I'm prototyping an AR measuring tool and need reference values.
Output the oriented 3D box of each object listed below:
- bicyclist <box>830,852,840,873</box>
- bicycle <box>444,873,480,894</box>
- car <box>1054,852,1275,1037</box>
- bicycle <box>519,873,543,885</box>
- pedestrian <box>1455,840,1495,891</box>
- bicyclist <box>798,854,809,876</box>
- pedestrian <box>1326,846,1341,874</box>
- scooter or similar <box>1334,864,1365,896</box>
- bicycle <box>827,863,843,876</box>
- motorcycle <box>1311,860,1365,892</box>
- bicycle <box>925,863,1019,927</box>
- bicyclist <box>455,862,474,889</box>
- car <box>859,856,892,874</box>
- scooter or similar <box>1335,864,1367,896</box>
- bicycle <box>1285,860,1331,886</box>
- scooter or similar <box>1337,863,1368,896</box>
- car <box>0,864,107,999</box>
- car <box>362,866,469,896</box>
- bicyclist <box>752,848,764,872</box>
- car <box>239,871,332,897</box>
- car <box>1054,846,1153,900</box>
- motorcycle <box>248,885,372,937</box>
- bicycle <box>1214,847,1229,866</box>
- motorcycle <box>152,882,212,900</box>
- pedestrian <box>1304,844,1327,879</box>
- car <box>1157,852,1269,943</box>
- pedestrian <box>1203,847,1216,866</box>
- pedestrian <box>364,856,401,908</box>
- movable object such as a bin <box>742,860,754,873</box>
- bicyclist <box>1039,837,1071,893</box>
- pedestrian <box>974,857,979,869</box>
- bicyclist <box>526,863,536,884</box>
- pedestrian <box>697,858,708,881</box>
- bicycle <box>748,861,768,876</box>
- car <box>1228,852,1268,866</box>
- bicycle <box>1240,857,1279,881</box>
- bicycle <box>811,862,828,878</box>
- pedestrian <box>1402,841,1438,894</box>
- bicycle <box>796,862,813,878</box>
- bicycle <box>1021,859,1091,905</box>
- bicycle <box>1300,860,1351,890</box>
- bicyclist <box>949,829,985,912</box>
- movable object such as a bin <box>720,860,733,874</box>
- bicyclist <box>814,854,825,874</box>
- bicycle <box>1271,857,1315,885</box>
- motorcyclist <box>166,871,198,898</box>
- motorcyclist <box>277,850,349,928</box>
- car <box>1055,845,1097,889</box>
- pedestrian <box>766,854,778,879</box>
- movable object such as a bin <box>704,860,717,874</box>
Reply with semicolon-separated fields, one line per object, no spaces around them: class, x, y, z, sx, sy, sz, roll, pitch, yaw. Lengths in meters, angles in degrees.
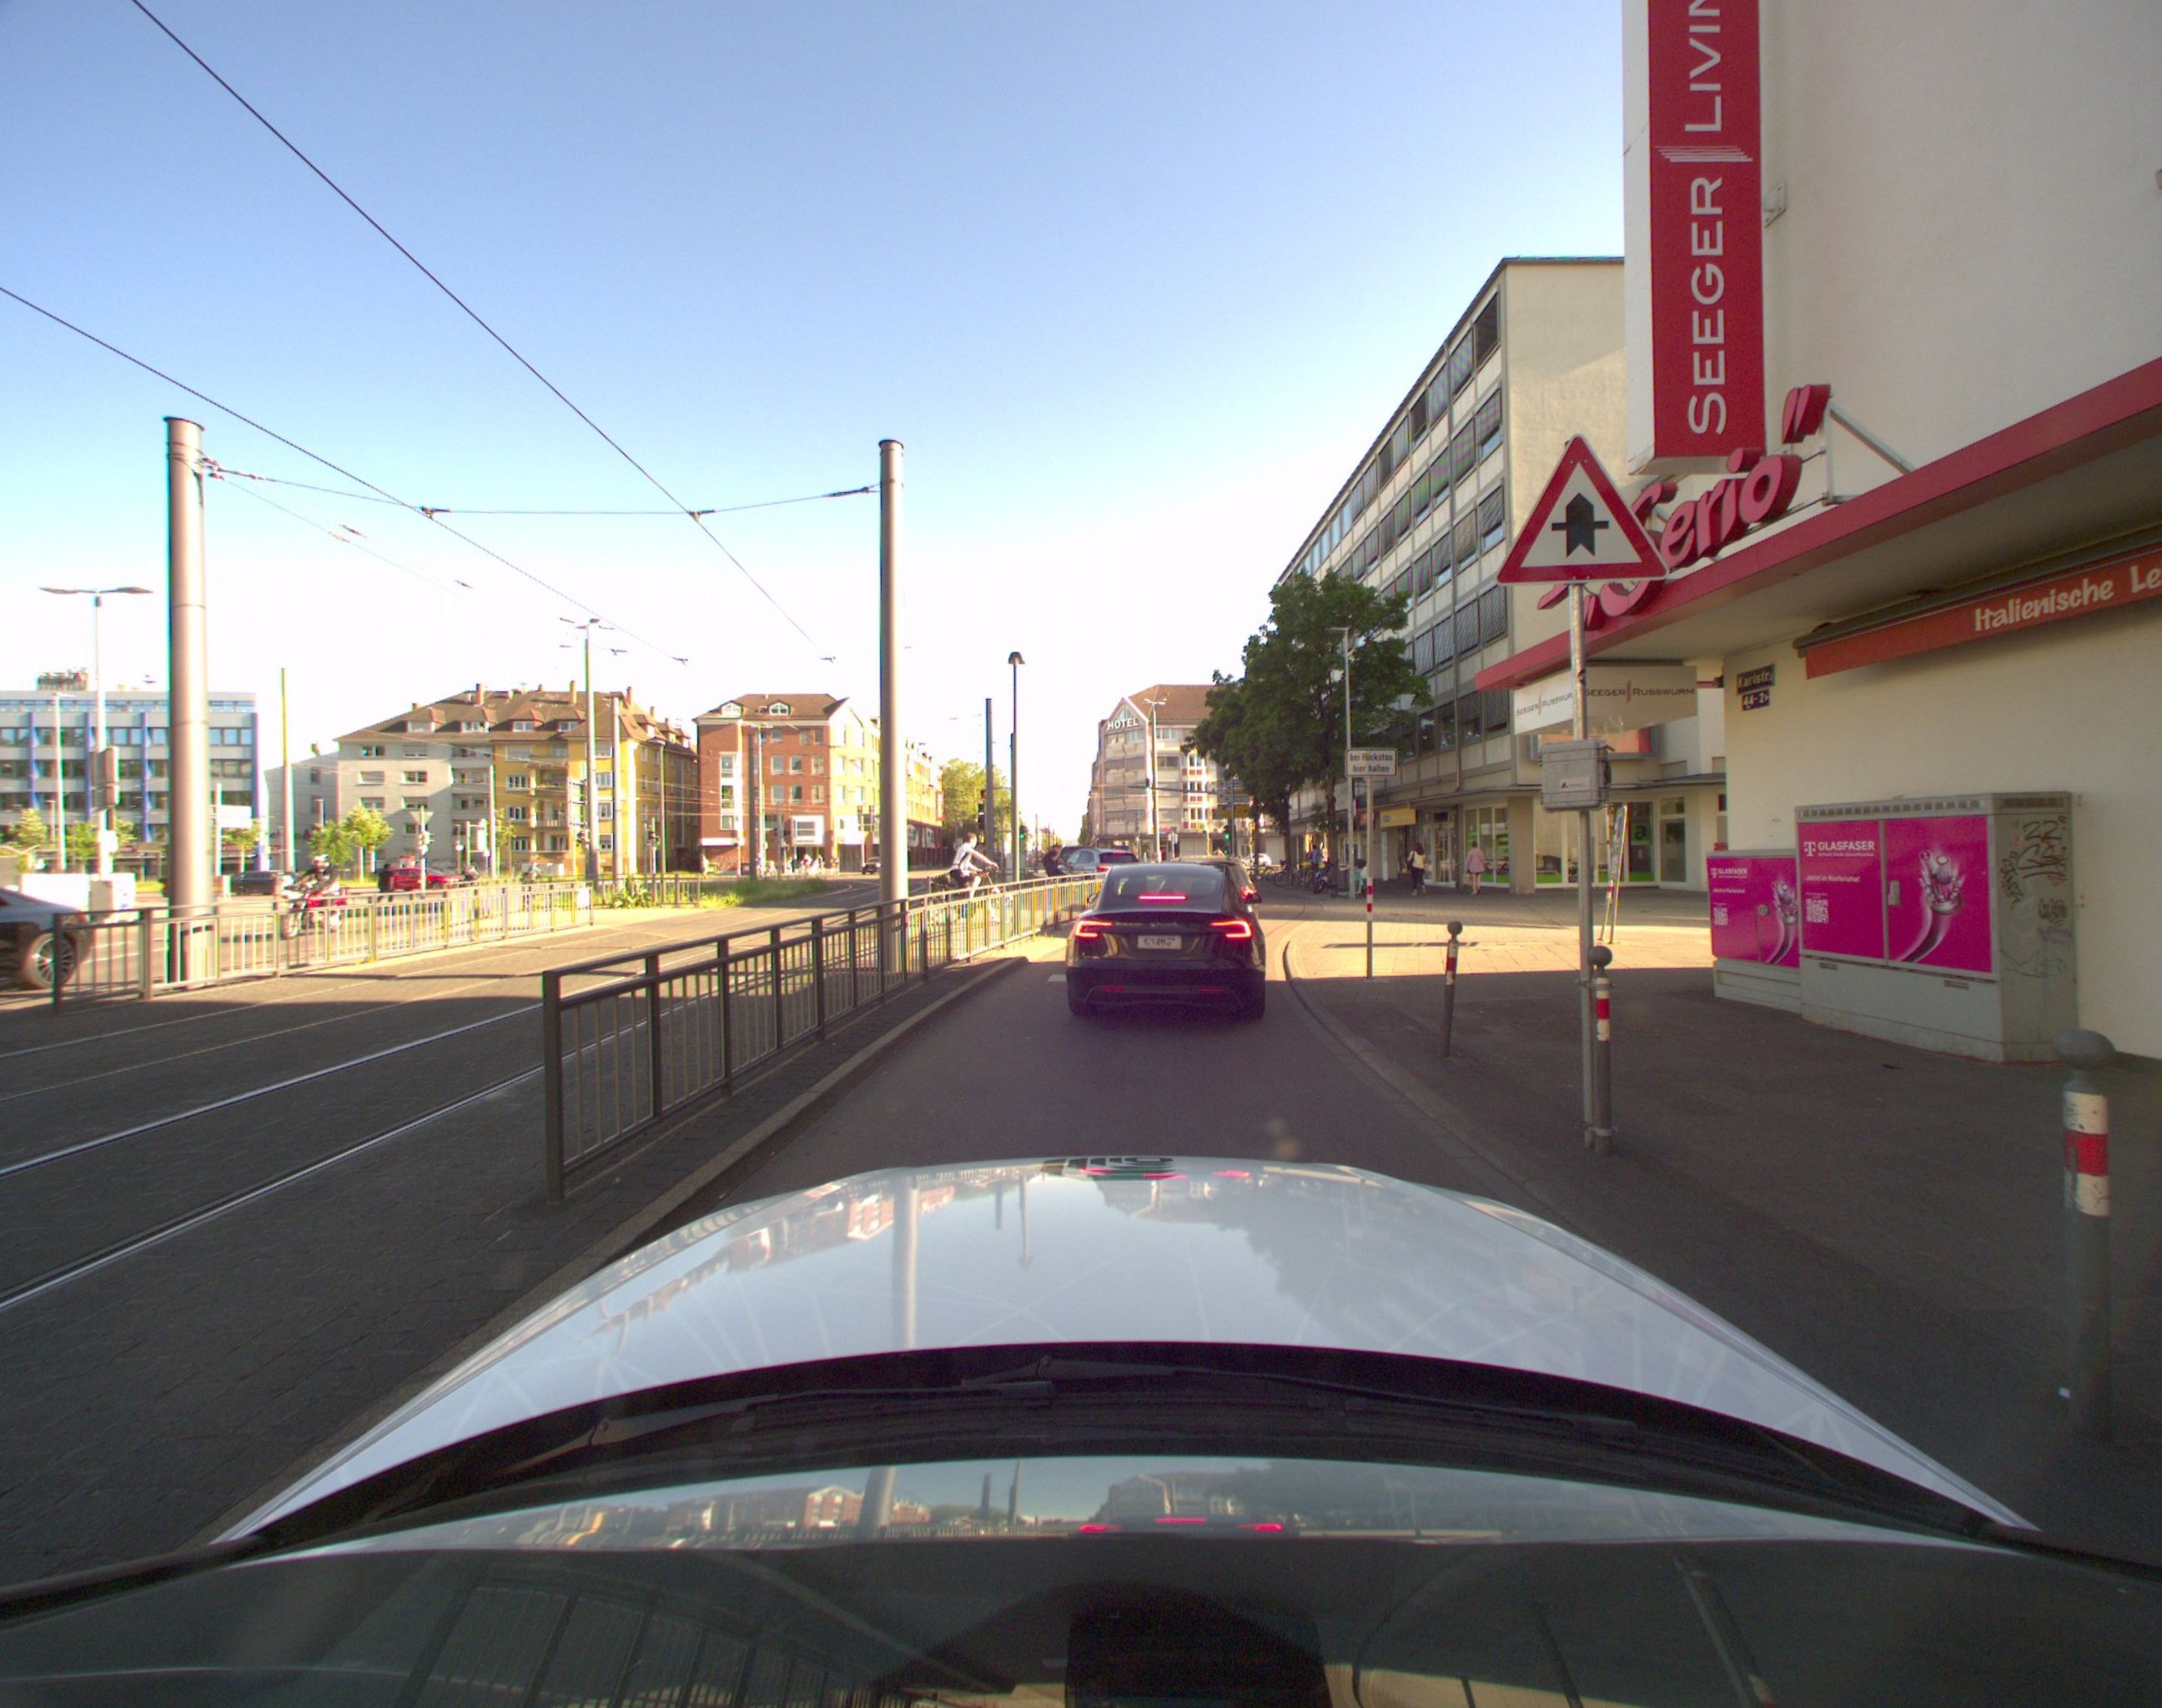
bicyclist;-19.403;0.684;64.247;0.522;1.673;0.771;0;-1;3
bicycle;-34.919;1.639;45.970;1.497;1.133;0.609;-1;-1;-13
car;0.906;0.733;8.604;1.781;1.450;3.947;0;1;7
bicycle;-35.149;1.614;52.048;1.174;0.764;0.318;0;-1;-15
pedestrian;12.514;0.364;25.877;0.840;1.602;0.880;0;-1;1
bicyclist;-21.028;0.821;61.797;0.518;1.673;0.771;0;-1;3
pedestrian;12.770;0.309;41.226;0.640;1.422;0.623;-1;-1;12
scooter or similar;8.970;0.864;27.214;0.959;1.027;0.160;-1;0;4
bicycle;-19.398;1.243;64.264;0.527;1.013;1.899;0;-1;4
motorcycle;9.198;0.782;29.134;1.781;1.130;0.504;0;-1;-1
bicycle;-2.160;0.797;16.224;1.820;1.212;0.580;0;-1;-10
bicyclist;-34.814;1.188;45.996;0.615;1.493;0.607;0;-1;-12
car;-17.962;0.958;71.315;1.678;1.560;4.124;0;-1;2
scooter or similar;8.955;0.853;27.014;0.952;1.039;0.160;-1;0;4
bicycle;9.261;0.769;33.247;1.758;1.057;0.459;0;-1;6
scooter or similar;8.941;0.840;26.816;0.959;1.043;0.160;-1;0;4
car;-12.722;0.894;8.163;1.784;1.509;4.635;-2;0;-22
car;-39.317;1.578;48.203;4.548;1.509;1.777;-2;0;-9
bicyclist;-22.441;0.407;56.633;0.518;1.673;0.771;0;-1;3
car;-46.284;1.733;47.431;3.695;1.472;1.572;0;-1;-6
car;0.655;0.582;26.332;1.848;1.635;3.457;0;-1;-25
motorcycle;-15.696;1.134;16.663;0.598;0.926;2.152;0;-1;-4
bicycle;11.468;0.204;66.582;0.583;1.463;1.678;-1;0;-13
motorcycle;-51.746;2.102;46.885;2.355;0.984;0.790;0;-1;-6
pedestrian;11.886;0.371;41.292;0.835;1.721;0.885;-1;-1;39
car;2.361;0.690;15.239;1.755;1.444;4.537;0;0;7
pedestrian;10.500;0.186;66.624;0.780;1.576;0.864;0;1;-13
pedestrian;-26.338;1.057;30.717;0.716;1.934;0.802;-1;-1;22
movable object such as a bin;-35.997;1.338;88.033;0.995;1.437;1.093;0;-1;-8
bicyclist;-0.719;0.297;22.399;0.685;1.523;0.629;0;-1;-29
pedestrian;-14.072;1.235;109.627;0.584;1.531;0.634;0;-1;-16
bicyclist;-35.144;1.253;52.035;0.459;1.316;0.398;0;-1;-14
pedestrian;-28.485;1.166;61.298;0.624;1.688;0.703;0;1;-11
bicycle;-22.436;1.019;56.654;0.527;1.013;1.887;0;-1;4
car;17.622;0.544;86.098;3.832;1.432;1.801;-1;-2;-4
bicycle;9.292;0.760;42.343;1.882;1.156;0.480;-2;-1;2
bicycle;-21.748;1.323;67.656;0.570;1.291;2.030;0;-1;6
pedestrian;11.129;0.450;26.750;0.840;1.707;0.880;0;-1;1
bicycle;-21.022;1.219;61.877;0.527;1.214;1.887;0;-1;4
bicycle;-0.677;0.760;22.415;1.831;1.212;0.635;0;-1;-29
bicycle;9.368;0.800;31.242;1.850;1.056;0.398;-2;0;-10
bicyclist;-2.269;0.323;16.216;0.681;1.631;0.577;0;-1;-9
movable object such as a bin;-38.283;1.410;87.919;0.995;1.437;1.093;0;-1;-8
bicyclist;-21.745;0.863;67.700;0.585;1.649;0.808;0;-1;6
bicycle;9.179;0.742;35.286;1.805;1.151;0.435;-1;-1;-3
motorcyclist;-51.765;1.751;46.882;0.919;1.524;0.781;0;-1;-5
motorcyclist;-15.697;0.704;16.672;0.651;1.558;0.883;0;-1;-5
car;-0.177;0.503;32.464;1.568;1.618;3.782;0;-1;0
pedestrian;-25.943;1.052;68.402;0.592;2.014;0.831;0;-1;4
movable object such as a bin;-39.843;1.420;87.619;0.995;1.437;1.093;0;-1;-8
